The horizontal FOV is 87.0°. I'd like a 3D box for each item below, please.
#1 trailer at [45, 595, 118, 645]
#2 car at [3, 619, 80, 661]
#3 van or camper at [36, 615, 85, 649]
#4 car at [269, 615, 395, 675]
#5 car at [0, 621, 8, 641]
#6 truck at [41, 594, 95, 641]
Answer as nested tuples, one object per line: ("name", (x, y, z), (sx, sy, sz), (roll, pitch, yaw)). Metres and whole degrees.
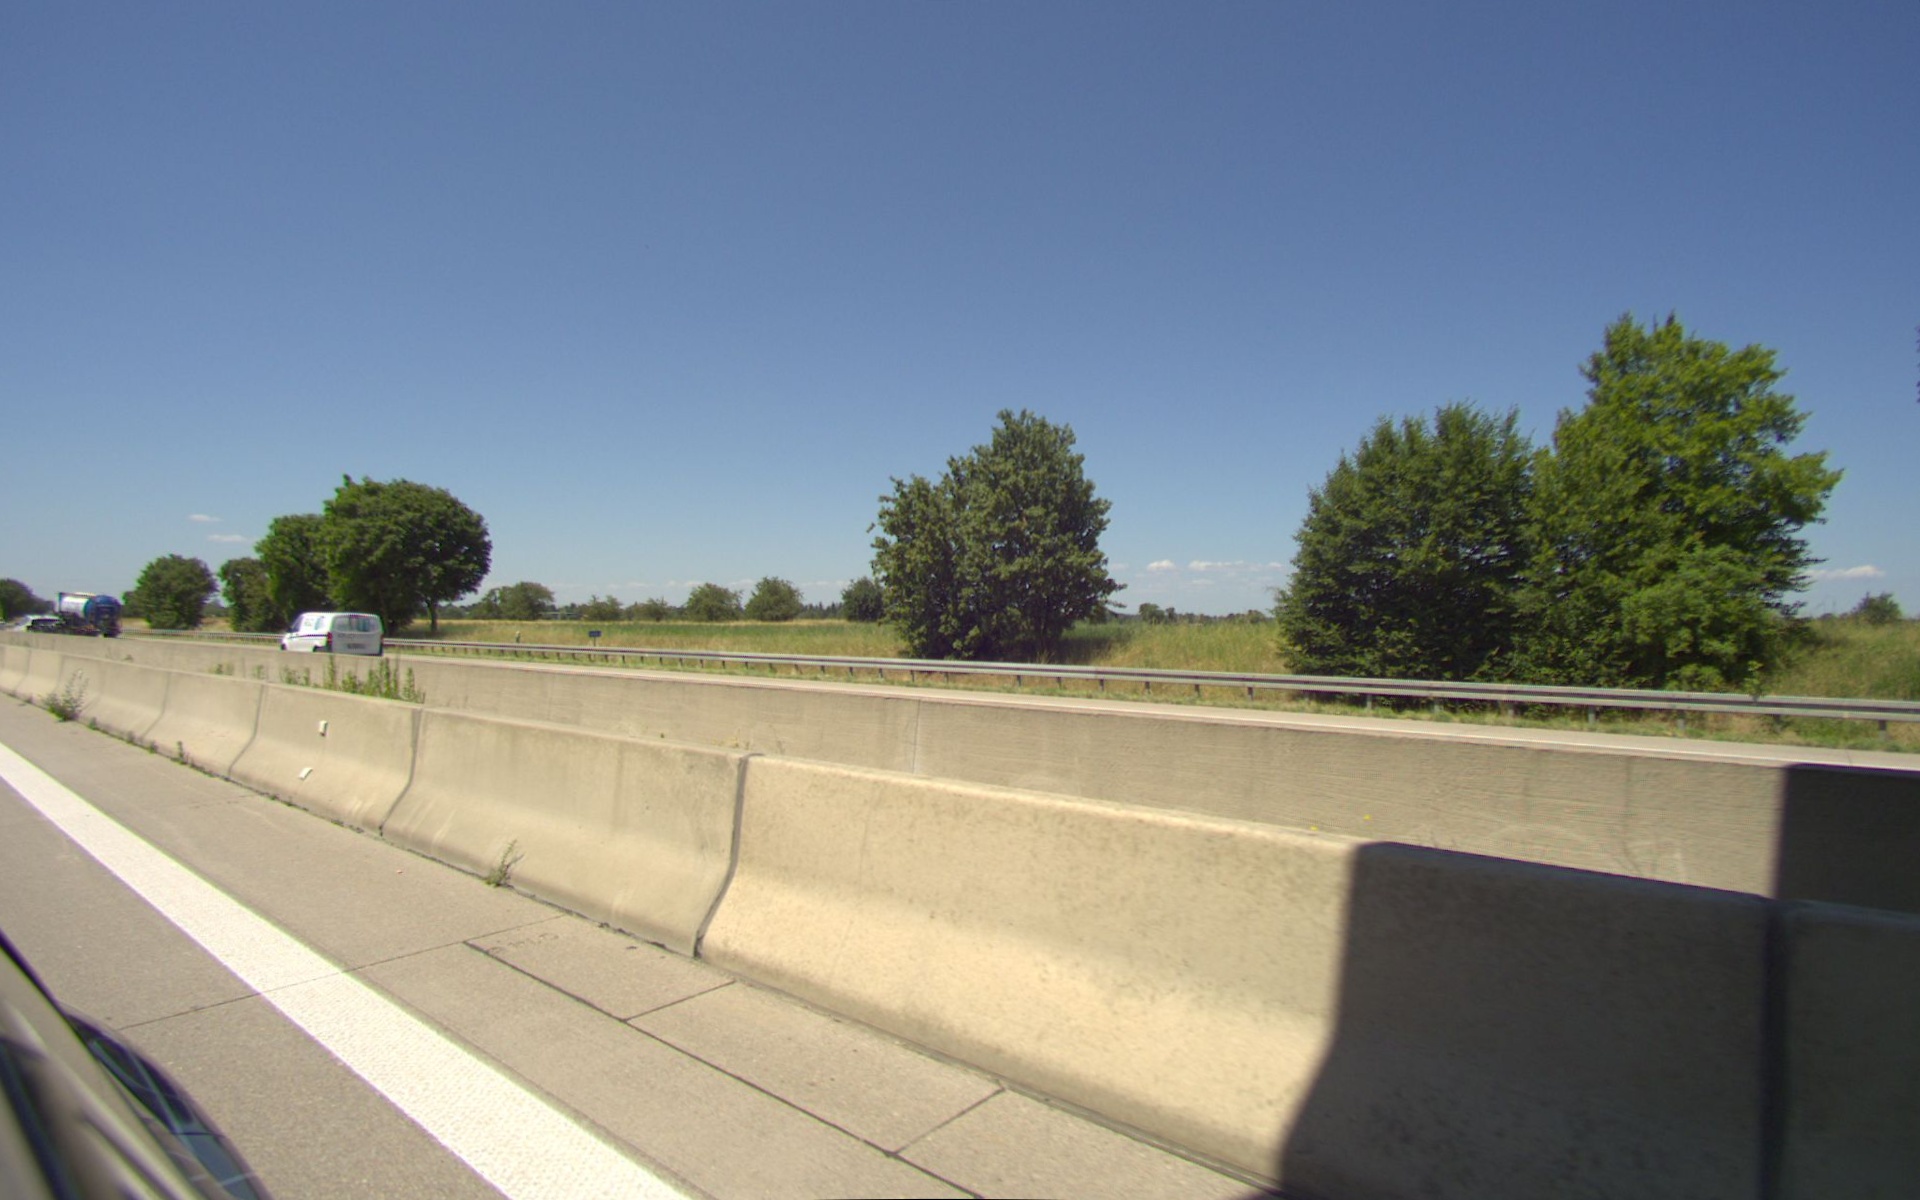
("trailer", (-75.080, 1.688, 86.331), (12.997, 3.999, 2.650), (-1, -2, 40))
("car", (-47.790, 2.013, 52.621), (5.975, 2.029, 2.229), (-1, 0, 41))
("van or camper", (-62.714, 2.177, 70.526), (4.794, 2.236, 1.917), (-1, 0, 41))
("car", (-22.542, 1.553, 36.228), (5.681, 1.973, 2.229), (-1, -2, 41))
("car", (-93.971, 3.028, 98.202), (3.998, 1.918, 1.973), (-1, 0, 41))
("truck", (-79.178, 1.567, 89.799), (6.615, 3.999, 2.629), (-1, -2, 40))
